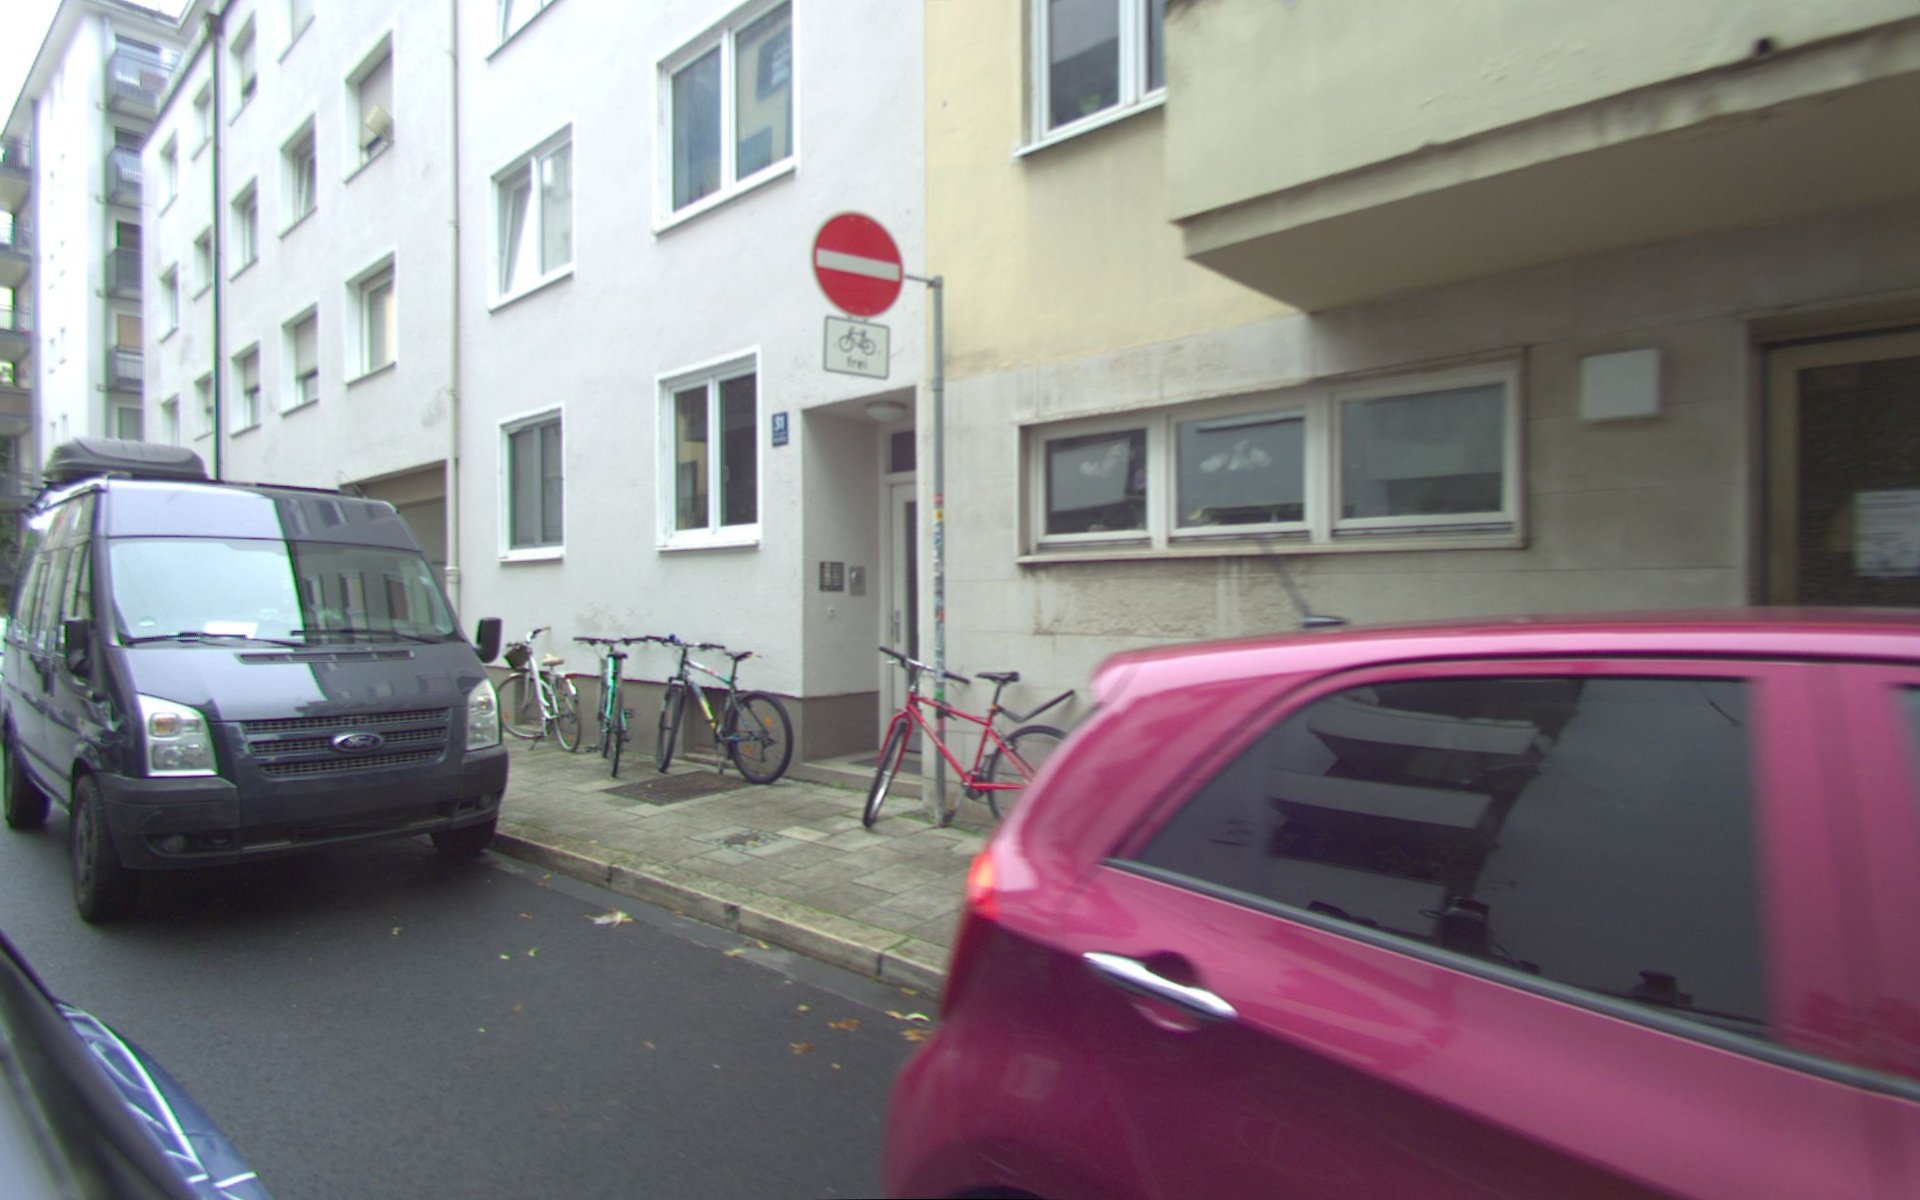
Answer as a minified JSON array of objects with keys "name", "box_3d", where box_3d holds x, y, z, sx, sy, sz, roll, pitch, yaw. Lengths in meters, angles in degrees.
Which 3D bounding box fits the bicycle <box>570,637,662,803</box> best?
[{"name":"bicycle","box_3d":[-2.794,0.884,8.118,0.456,1.106,1.876,-1,0,-26]}]

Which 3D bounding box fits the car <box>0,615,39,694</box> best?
[{"name":"car","box_3d":[-19.934,1.040,20.085,4.806,1.448,1.892,0,0,41]}]

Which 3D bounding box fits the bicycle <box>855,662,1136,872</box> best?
[{"name":"bicycle","box_3d":[0.148,0.850,5.591,1.590,0.939,0.484,-1,0,41]}]

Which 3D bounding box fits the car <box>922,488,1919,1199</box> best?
[{"name":"car","box_3d":[1.867,0.653,0.994,3.706,1.508,1.603,-1,-1,40]}]

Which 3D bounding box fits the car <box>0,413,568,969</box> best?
[{"name":"car","box_3d":[-4.892,0.409,6.735,5.388,2.296,1.997,0,-2,42]}]

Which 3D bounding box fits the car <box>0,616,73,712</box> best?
[{"name":"car","box_3d":[-16.197,1.001,16.620,4.222,1.427,1.783,0,0,39]}]

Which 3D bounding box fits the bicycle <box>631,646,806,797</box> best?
[{"name":"bicycle","box_3d":[-1.879,0.878,7.744,1.591,0.991,0.484,-1,0,43]}]

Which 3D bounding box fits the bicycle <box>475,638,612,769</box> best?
[{"name":"bicycle","box_3d":[-4.039,0.942,9.728,1.870,1.106,0.458,-1,0,43]}]

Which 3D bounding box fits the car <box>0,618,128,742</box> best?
[{"name":"car","box_3d":[-12.655,0.996,13.719,3.742,1.457,1.594,0,-2,43]}]

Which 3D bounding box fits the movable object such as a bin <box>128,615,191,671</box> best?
[{"name":"movable object such as a bin","box_3d":[-20.484,1.083,25.902,1.103,1.364,1.099,-1,0,42]}]

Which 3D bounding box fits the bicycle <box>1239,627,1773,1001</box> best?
[{"name":"bicycle","box_3d":[2.021,0.693,3.949,1.759,1.157,0.462,-1,0,42]}]
